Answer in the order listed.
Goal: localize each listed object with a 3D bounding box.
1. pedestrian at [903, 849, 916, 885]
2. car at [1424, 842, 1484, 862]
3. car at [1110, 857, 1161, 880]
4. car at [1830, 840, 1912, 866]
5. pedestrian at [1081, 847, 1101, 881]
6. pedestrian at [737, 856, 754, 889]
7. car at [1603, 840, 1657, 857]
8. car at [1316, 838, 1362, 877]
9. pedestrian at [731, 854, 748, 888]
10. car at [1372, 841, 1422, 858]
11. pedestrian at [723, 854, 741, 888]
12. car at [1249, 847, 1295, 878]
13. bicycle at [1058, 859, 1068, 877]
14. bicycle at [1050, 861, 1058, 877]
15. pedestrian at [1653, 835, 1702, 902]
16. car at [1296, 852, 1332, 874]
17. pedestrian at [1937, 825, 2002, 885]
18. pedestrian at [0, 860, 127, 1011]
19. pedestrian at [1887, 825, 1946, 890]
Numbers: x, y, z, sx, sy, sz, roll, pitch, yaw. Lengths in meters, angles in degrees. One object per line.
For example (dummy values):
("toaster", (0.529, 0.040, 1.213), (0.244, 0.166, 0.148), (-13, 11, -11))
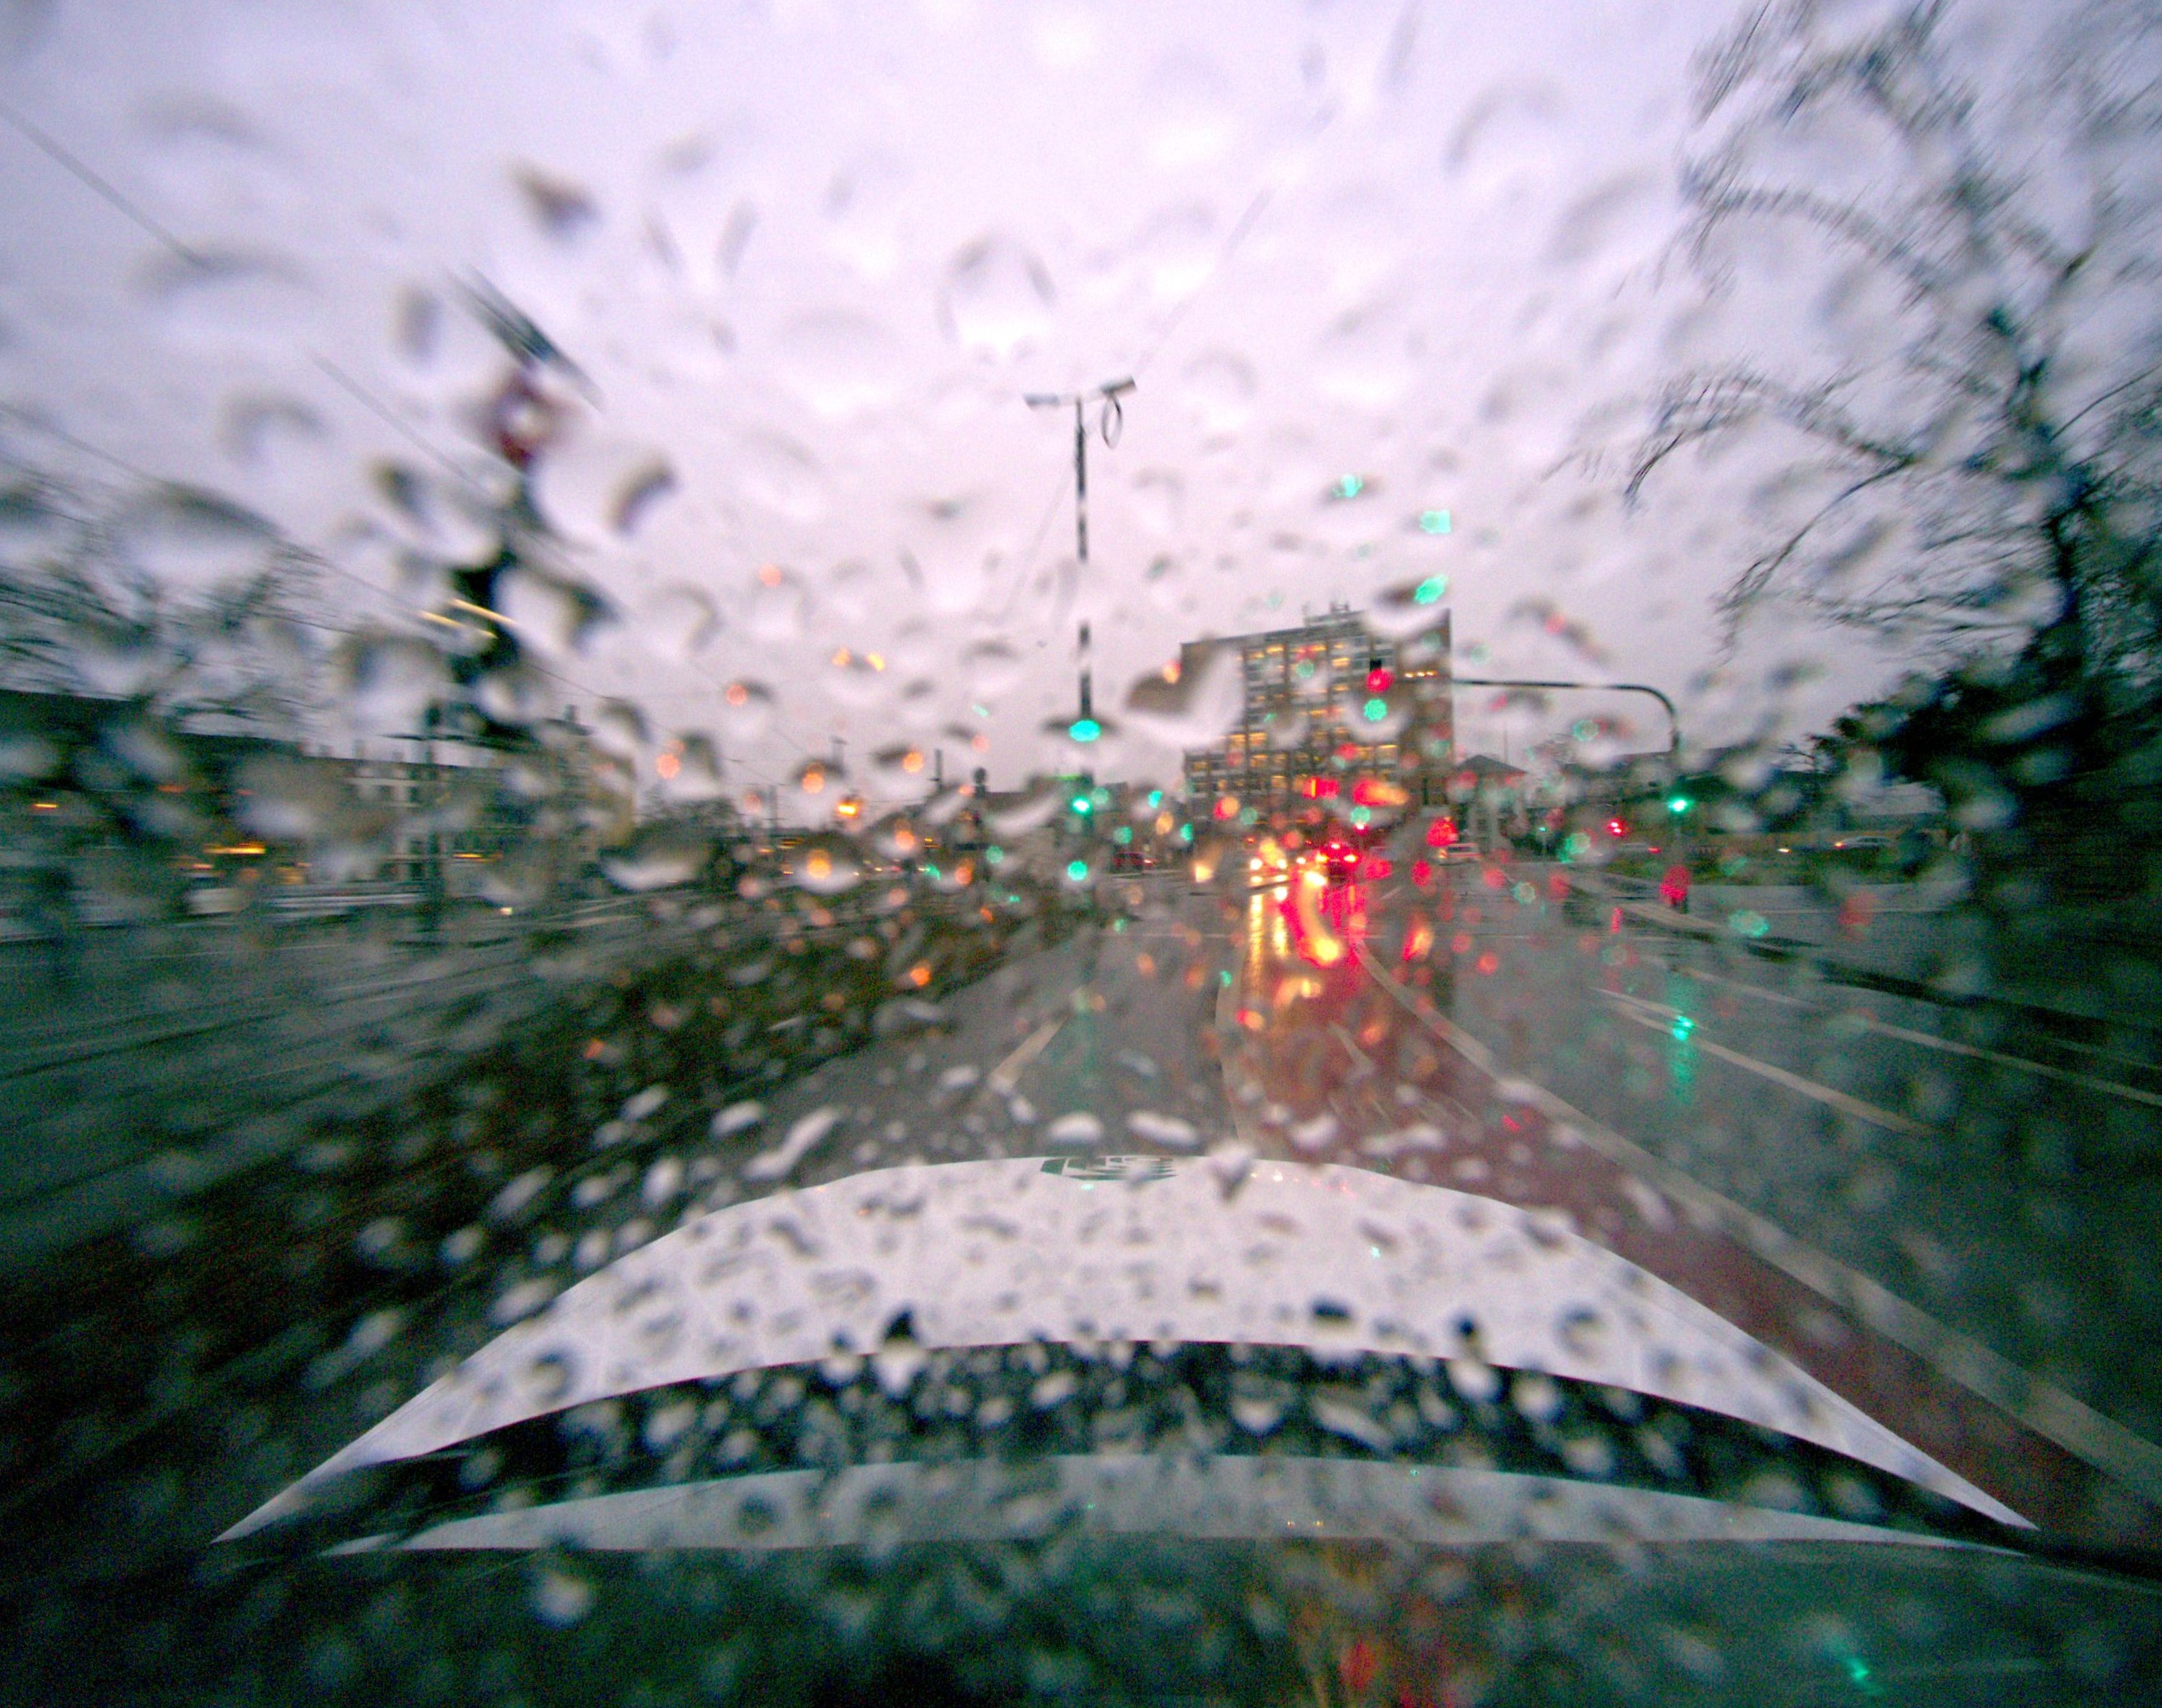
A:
("pedestrian", (-8.806, 0.685, 41.878), (0.603, 1.813, 0.822), (1, -1, -13))
("car", (37.498, -0.210, 81.938), (5.106, 1.913, 2.012), (0, 0, 41))
("car", (5.648, 1.456, 84.428), (4.974, 2.281, 2.272), (0, -2, 42))
("car", (53.110, -0.050, 54.857), (3.598, 1.651, 1.901), (0, -1, 30))
("pedestrian", (0.485, 0.505, 40.183), (0.666, 1.674, 0.735), (0, -2, 29))
("pedestrian", (-18.506, 1.010, 44.913), (0.712, 1.806, 0.715), (0, -1, -9))
("car", (49.241, -0.455, 73.053), (3.879, 1.486, 1.478), (0, -2, 41))
("car", (12.887, 0.133, 40.490), (1.632, 1.819, 4.024), (0, 1, 26))
("pedestrian", (-18.395, 0.918, 43.870), (0.712, 1.806, 0.715), (0, -1, -9))
("car", (38.985, -0.556, 100.414), (5.493, 2.024, 2.012), (0, -1, 32))
("pedestrian", (-18.313, 0.888, 42.722), (0.712, 1.757, 0.715), (0, -1, -9))
("car", (11.449, 0.475, 48.549), (1.738, 1.662, 4.556), (-3, 0, 25))
("bicycle", (-1.209, 0.949, 53.906), (0.547, 1.165, 1.896), (1, -1, -4))
("bicycle", (-1.967, 1.073, 59.213), (0.547, 1.165, 1.896), (1, -1, -4))
("pedestrian", (15.414, 0.362, 21.058), (0.797, 1.684, 1.163), (-3, -1, 28))
("car", (17.060, 0.629, 59.532), (1.731, 1.378, 4.392), (-3, 0, 25))
("pedestrian", (25.981, 0.036, 23.836), (0.776, 1.675, 0.960), (-2, -1, -5))
("pedestrian", (-16.856, 1.291, 13.468), (0.985, 2.371, 1.070), (0, -1, 21))
("pedestrian", (22.398, 0.092, 21.843), (0.784, 1.675, 0.732), (-3, -1, 12))
